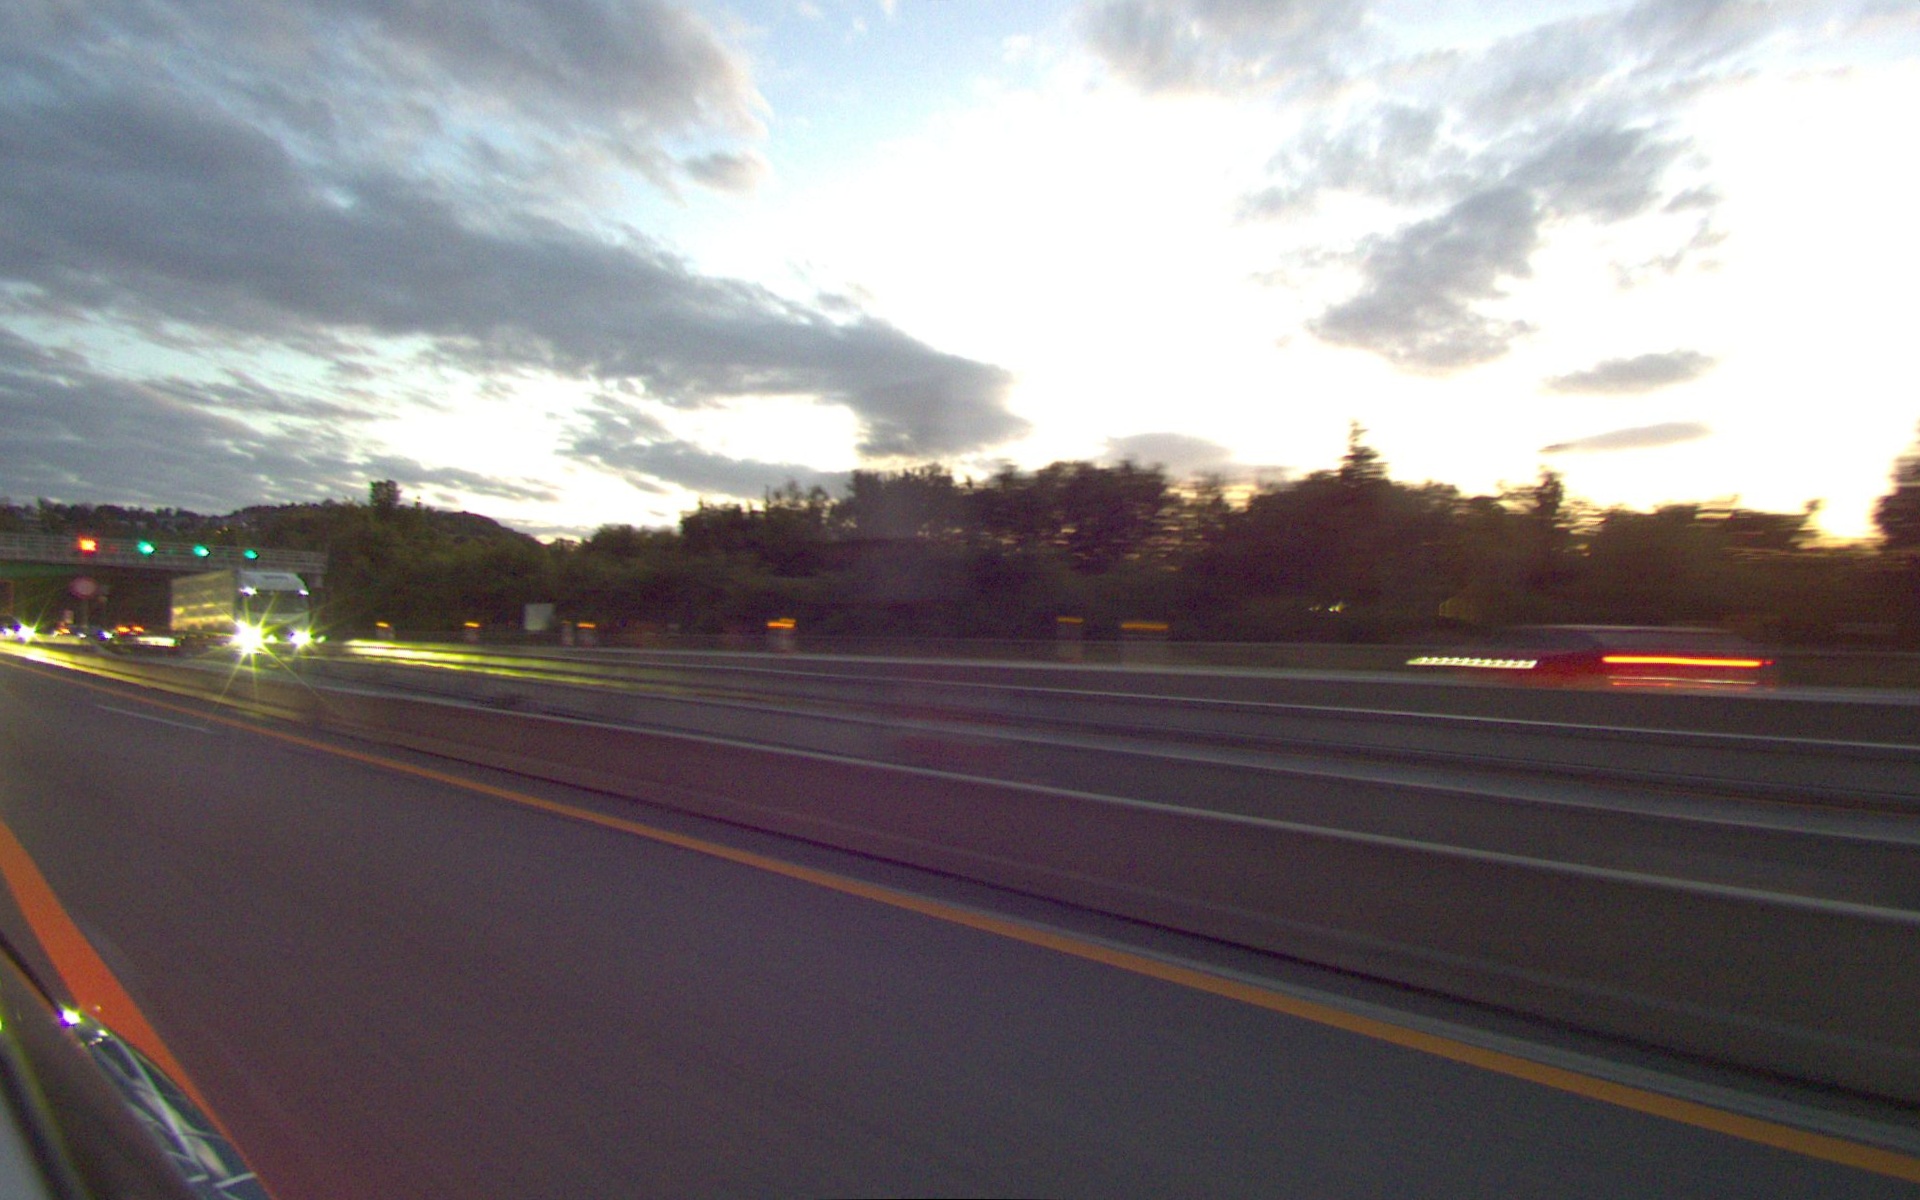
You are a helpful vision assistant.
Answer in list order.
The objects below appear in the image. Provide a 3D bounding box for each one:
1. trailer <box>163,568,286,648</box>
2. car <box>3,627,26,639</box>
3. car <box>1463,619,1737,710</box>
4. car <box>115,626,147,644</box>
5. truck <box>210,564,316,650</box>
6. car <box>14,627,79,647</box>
[{"bbox_3d":[-38.957,0.456,53.360,11.831,3.811,2.769,-1,0,42],"label":"trailer"},{"bbox_3d":[-126.568,4.421,135.421,3.925,1.466,1.686,-1,0,38],"label":"car"},{"bbox_3d":[12.053,1.136,19.189,4.133,1.475,1.973,-1,0,41],"label":"car"},{"bbox_3d":[-86.113,3.618,105.137,3.940,1.727,1.887,-1,0,41],"label":"car"},{"bbox_3d":[-33.087,0.340,47.970,6.302,3.803,2.772,-1,0,42],"label":"truck"},{"bbox_3d":[-83.232,3.352,92.261,1.982,1.711,3.980,-1,-1,15],"label":"car"}]
